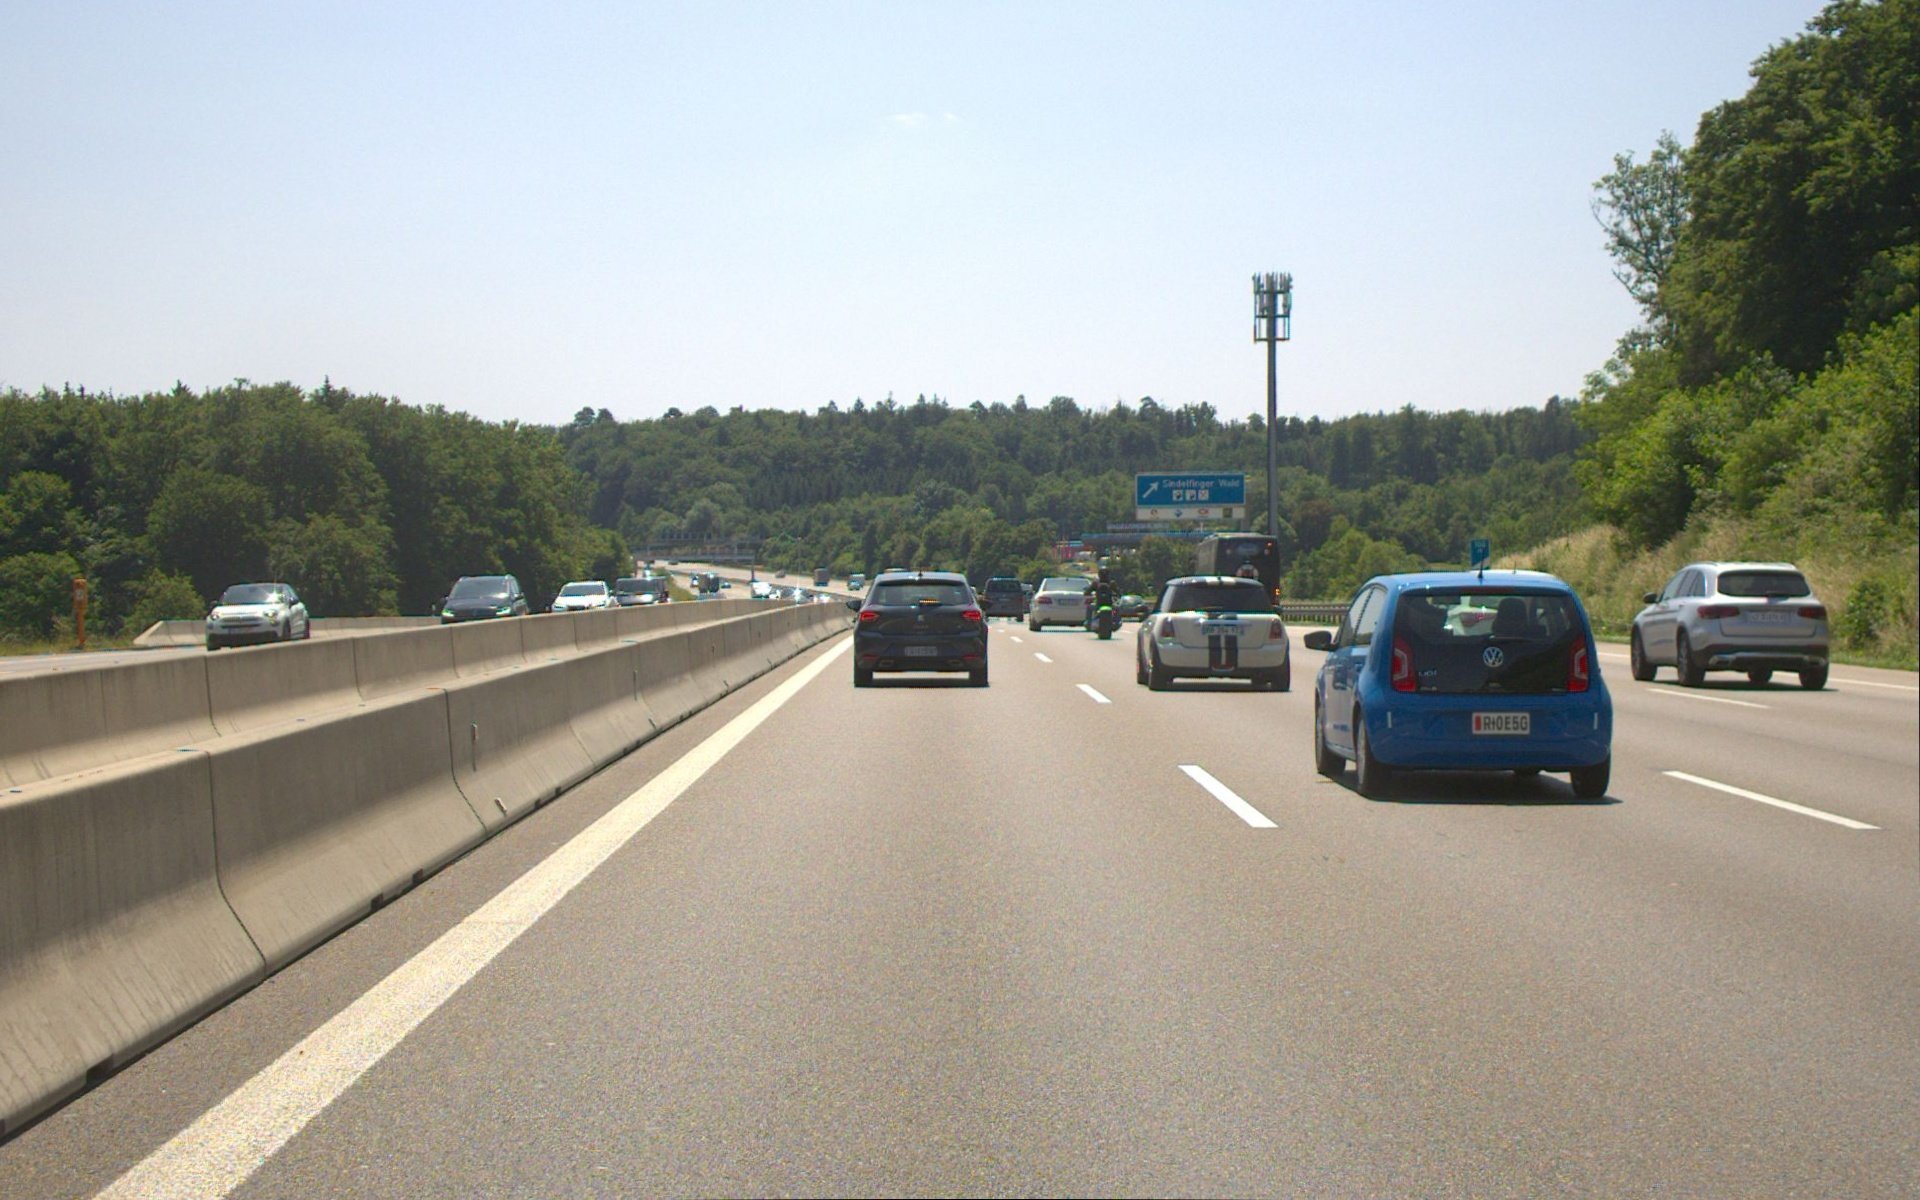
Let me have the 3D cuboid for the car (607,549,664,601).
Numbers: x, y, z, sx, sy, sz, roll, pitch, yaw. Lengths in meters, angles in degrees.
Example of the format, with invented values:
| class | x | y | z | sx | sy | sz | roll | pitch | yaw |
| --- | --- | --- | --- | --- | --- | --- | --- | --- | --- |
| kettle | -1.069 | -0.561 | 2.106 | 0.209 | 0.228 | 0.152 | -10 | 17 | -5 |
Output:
| class | x | y | z | sx | sy | sz | roll | pitch | yaw |
| --- | --- | --- | --- | --- | --- | --- | --- | --- | --- |
| car | -12.814 | -1.001 | 135.990 | 1.993 | 2.007 | 4.813 | -1 | 1 | -2 |

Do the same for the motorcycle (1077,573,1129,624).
| class | x | y | z | sx | sy | sz | roll | pitch | yaw |
| --- | --- | --- | --- | --- | --- | --- | --- | --- | --- |
| motorcycle | 3.224 | -0.043 | 77.758 | 0.977 | 1.125 | 2.271 | -1 | 1 | -2 |

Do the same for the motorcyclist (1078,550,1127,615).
| class | x | y | z | sx | sy | sz | roll | pitch | yaw |
| --- | --- | --- | --- | --- | --- | --- | --- | --- | --- |
| motorcyclist | 3.217 | -0.392 | 77.690 | 0.962 | 1.433 | 1.235 | -2 | 1 | -2 |

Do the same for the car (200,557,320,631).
| class | x | y | z | sx | sy | sz | roll | pitch | yaw |
| --- | --- | --- | --- | --- | --- | --- | --- | --- | --- |
| car | -15.914 | -0.163 | 78.391 | 1.744 | 1.557 | 4.422 | -3 | 1 | 0 |

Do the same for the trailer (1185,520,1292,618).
| class | x | y | z | sx | sy | sz | roll | pitch | yaw |
| --- | --- | --- | --- | --- | --- | --- | --- | --- | --- |
| trailer | 11.058 | -1.145 | 137.729 | 2.857 | 3.675 | 13.542 | -1 | 0 | -1 |

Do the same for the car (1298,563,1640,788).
| class | x | y | z | sx | sy | sz | roll | pitch | yaw |
| --- | --- | --- | --- | --- | --- | --- | --- | --- | --- |
| car | 3.390 | 0.467 | 23.575 | 1.737 | 1.406 | 4.000 | 0 | 0 | 0 |

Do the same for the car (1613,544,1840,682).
| class | x | y | z | sx | sy | sz | roll | pitch | yaw |
| --- | --- | --- | --- | --- | --- | --- | --- | --- | --- |
| car | 10.232 | 0.126 | 46.263 | 1.801 | 1.725 | 5.239 | 1 | 1 | -1 |

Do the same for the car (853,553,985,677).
| class | x | y | z | sx | sy | sz | roll | pitch | yaw |
| --- | --- | --- | --- | --- | --- | --- | --- | --- | --- |
| car | -0.510 | 0.163 | 44.331 | 1.624 | 1.482 | 3.685 | 0 | 1 | 0 |

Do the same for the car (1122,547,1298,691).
| class | x | y | z | sx | sy | sz | roll | pitch | yaw |
| --- | --- | --- | --- | --- | --- | --- | --- | --- | --- |
| car | 3.070 | 0.196 | 42.917 | 1.841 | 1.546 | 4.000 | 3 | 2 | 0 |

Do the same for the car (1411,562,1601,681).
| class | x | y | z | sx | sy | sz | roll | pitch | yaw |
| --- | --- | --- | --- | --- | --- | --- | --- | --- | --- |
| car | 7.006 | 0.236 | 44.500 | 1.666 | 1.428 | 4.376 | -1 | 1 | -1 |

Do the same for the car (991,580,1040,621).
| class | x | y | z | sx | sy | sz | roll | pitch | yaw |
| --- | --- | --- | --- | --- | --- | --- | --- | --- | --- |
| car | 2.546 | 0.008 | 159.563 | 2.097 | 1.845 | 4.081 | -1 | 1 | -1 |

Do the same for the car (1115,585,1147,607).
| class | x | y | z | sx | sy | sz | roll | pitch | yaw |
| --- | --- | --- | --- | --- | --- | --- | --- | --- | --- |
| car | 10.005 | -0.236 | 201.337 | 1.608 | 1.208 | 3.460 | -1 | 0 | -2 |

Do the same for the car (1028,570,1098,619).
| class | x | y | z | sx | sy | sz | roll | pitch | yaw |
| --- | --- | --- | --- | --- | --- | --- | --- | --- | --- |
| car | 2.764 | -0.172 | 92.918 | 1.782 | 1.261 | 3.460 | -1 | 1 | 0 |

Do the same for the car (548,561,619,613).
| class | x | y | z | sx | sy | sz | roll | pitch | yaw |
| --- | --- | --- | --- | --- | --- | --- | --- | --- | --- |
| car | -12.353 | -0.433 | 113.021 | 1.895 | 1.657 | 4.729 | -1 | 1 | -1 |

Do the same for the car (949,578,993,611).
| class | x | y | z | sx | sy | sz | roll | pitch | yaw |
| --- | --- | --- | --- | --- | --- | --- | --- | --- | --- |
| car | 0.561 | -0.325 | 184.696 | 1.993 | 1.678 | 4.424 | 1 | 1 | -5 |

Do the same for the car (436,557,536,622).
| class | x | y | z | sx | sy | sz | roll | pitch | yaw |
| --- | --- | --- | --- | --- | --- | --- | --- | --- | --- |
| car | -11.860 | -0.288 | 86.266 | 1.801 | 1.543 | 4.729 | -1 | 1 | 0 |
